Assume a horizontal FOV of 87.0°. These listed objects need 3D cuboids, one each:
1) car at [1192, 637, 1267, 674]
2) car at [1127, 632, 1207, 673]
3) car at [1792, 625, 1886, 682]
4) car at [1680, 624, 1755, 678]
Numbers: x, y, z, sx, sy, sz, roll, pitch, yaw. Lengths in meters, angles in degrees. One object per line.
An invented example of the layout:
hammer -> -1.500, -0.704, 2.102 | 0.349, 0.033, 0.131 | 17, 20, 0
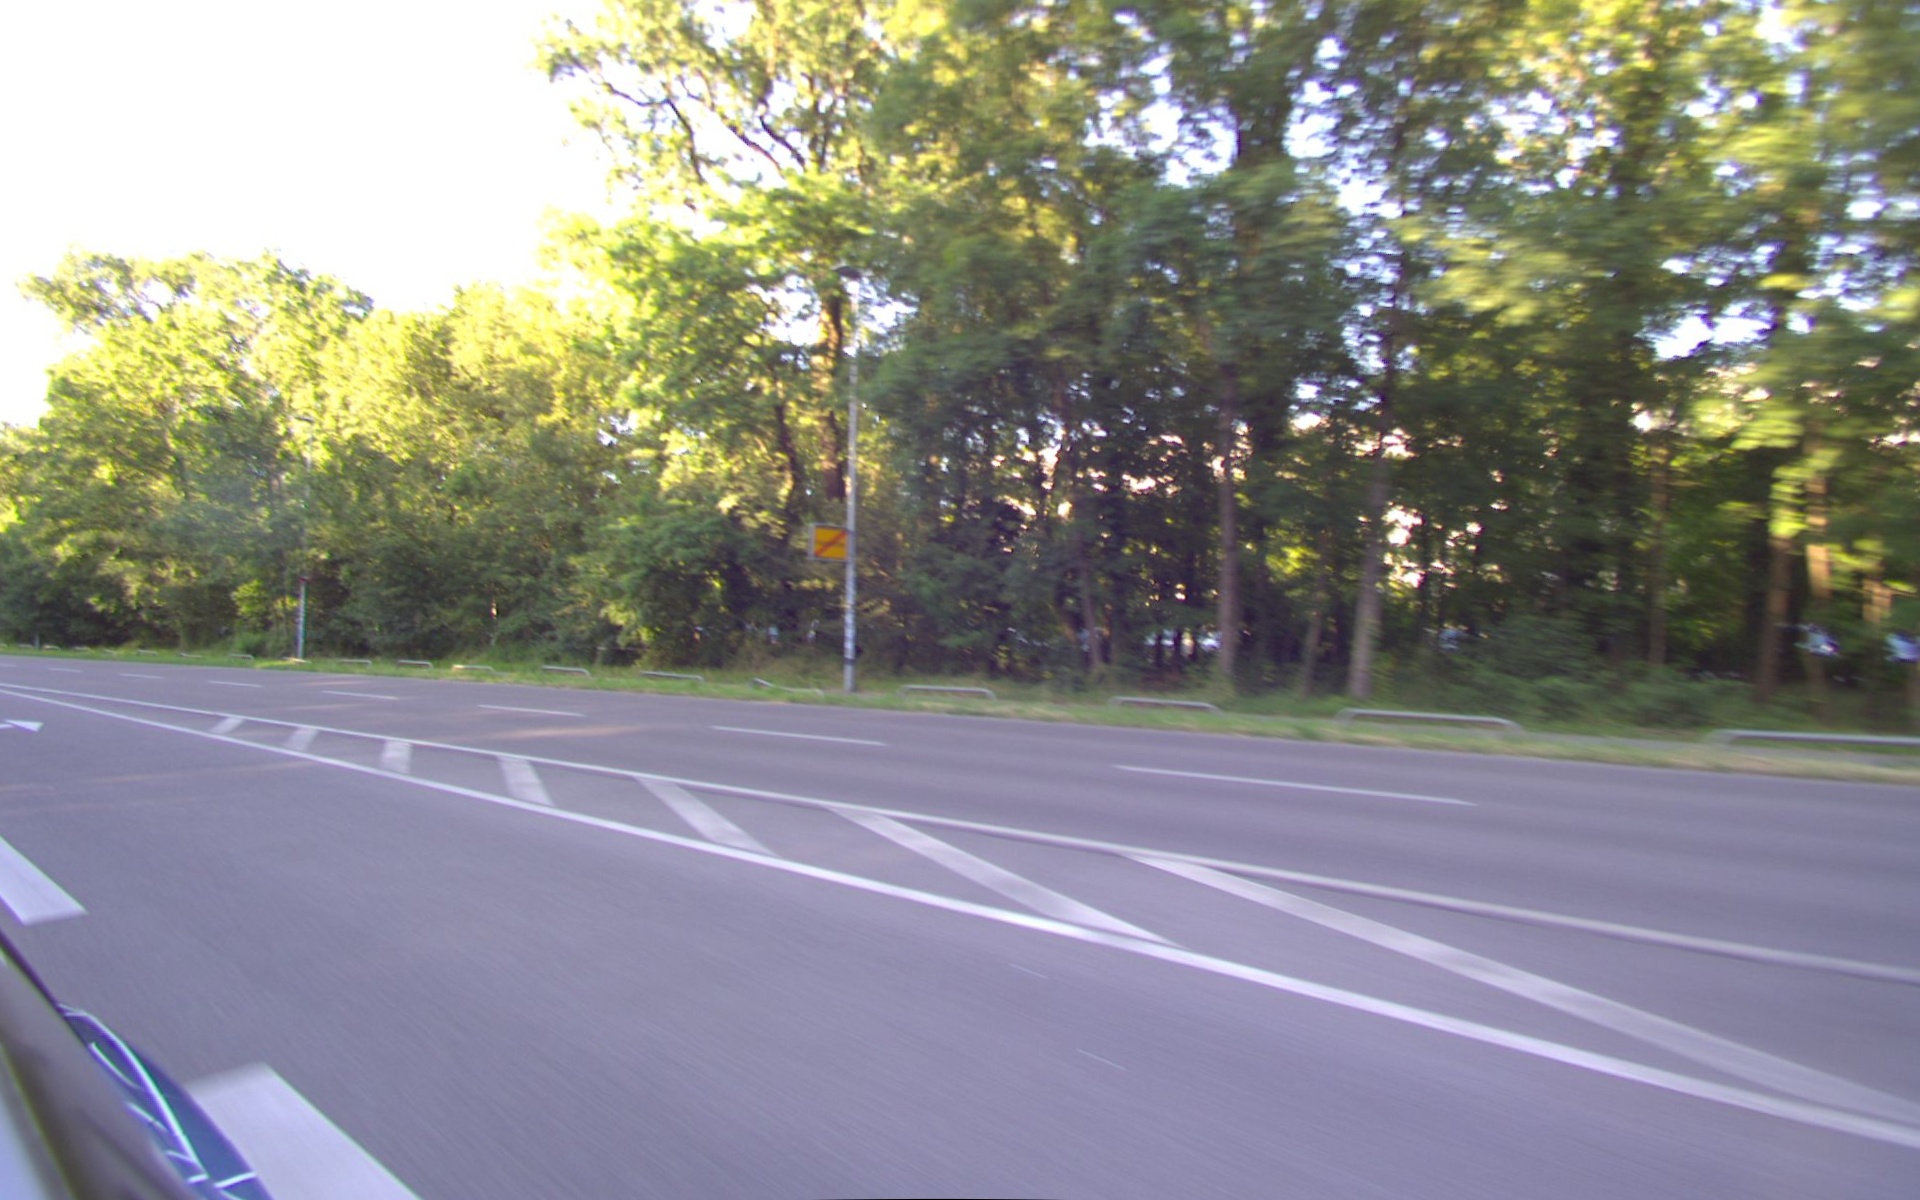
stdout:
car -> 12.011, 2.434, 44.999 | 1.780, 1.495, 3.948 | -1, -2, 39
car -> 9.531, 2.352, 46.454 | 1.998, 1.738, 3.948 | -1, -2, 39
car -> 29.383, 1.733, 33.959 | 1.996, 1.763, 3.951 | -1, -2, 36
car -> 26.956, 1.762, 36.097 | 1.996, 1.763, 3.951 | -1, -2, 36
